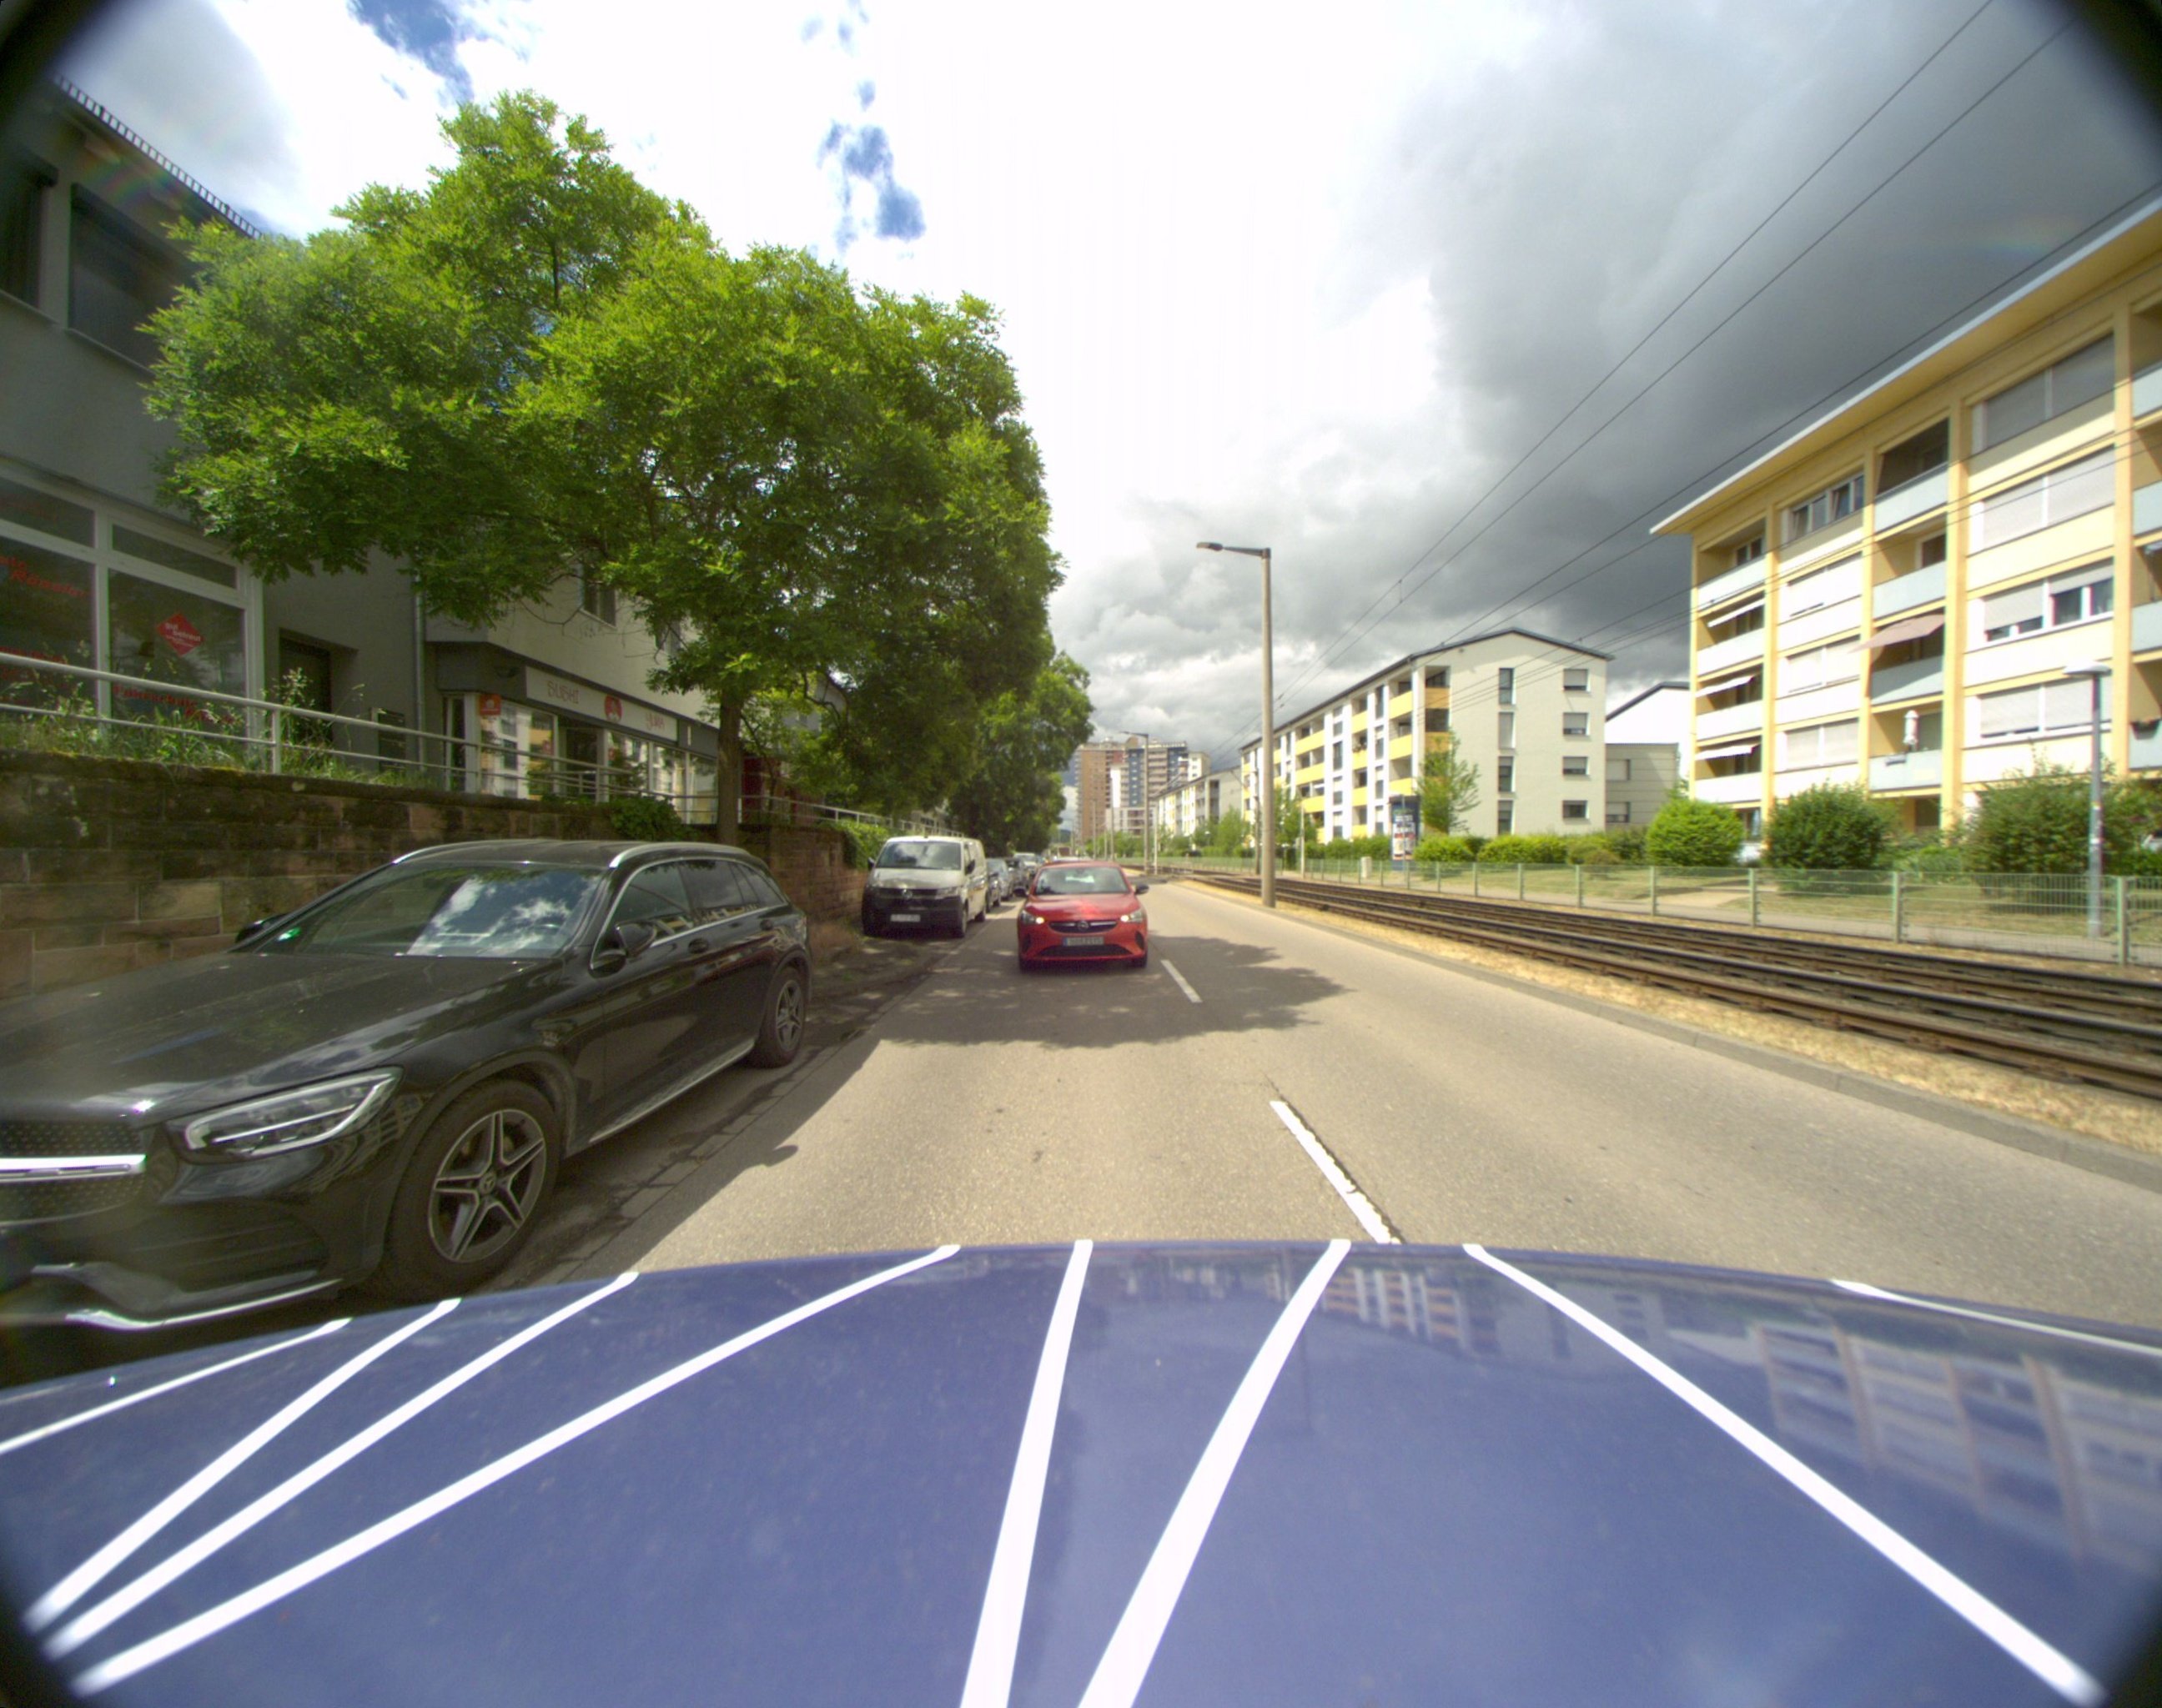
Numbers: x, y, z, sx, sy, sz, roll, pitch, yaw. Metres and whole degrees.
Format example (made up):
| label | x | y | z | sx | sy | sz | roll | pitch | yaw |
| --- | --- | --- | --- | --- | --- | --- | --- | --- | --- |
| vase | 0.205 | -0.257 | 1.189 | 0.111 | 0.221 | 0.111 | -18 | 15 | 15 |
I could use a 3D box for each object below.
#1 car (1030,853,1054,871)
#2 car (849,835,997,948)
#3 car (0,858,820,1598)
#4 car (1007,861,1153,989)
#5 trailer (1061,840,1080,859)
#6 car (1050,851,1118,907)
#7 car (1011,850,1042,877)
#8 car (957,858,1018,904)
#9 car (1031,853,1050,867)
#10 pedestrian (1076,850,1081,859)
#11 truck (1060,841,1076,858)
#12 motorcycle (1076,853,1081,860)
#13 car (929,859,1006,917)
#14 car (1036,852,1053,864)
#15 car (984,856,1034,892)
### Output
| label | x | y | z | sx | sy | sz | roll | pitch | yaw |
| --- | --- | --- | --- | --- | --- | --- | --- | --- | --- |
| car | -3.391 | 0.666 | 66.606 | 1.784 | 1.420 | 4.147 | -1 | 0 | 0 |
| car | -3.059 | 0.644 | 15.894 | 1.978 | 1.958 | 5.012 | -1 | 0 | 0 |
| car | -3.024 | 0.872 | 3.947 | 1.794 | 1.608 | 4.447 | 1 | 0 | 0 |
| car | 0.026 | 0.889 | 11.285 | 1.723 | 1.434 | 4.000 | -2 | 0 | 1 |
| trailer | -2.192 | -0.882 | 146.261 | 2.876 | 3.428 | 14.610 | -3 | 0 | -3 |
| car | 0.058 | 0.738 | 24.549 | 1.927 | 1.543 | 3.999 | -3 | 0 | -1 |
| car | -3.505 | 0.596 | 49.225 | 1.819 | 1.644 | 4.146 | -1 | 0 | -2 |
| car | -3.225 | 0.887 | 26.862 | 1.785 | 1.420 | 4.144 | -1 | 0 | -2 |
| car | -4.383 | 0.612 | 83.038 | 1.784 | 1.420 | 4.147 | -1 | 0 | 0 |
| pedestrian | -0.452 | 0.075 | 123.848 | 0.737 | 1.408 | 0.927 | -3 | 1 | -1 |
| truck | -2.680 | -0.931 | 154.299 | 2.853 | 3.429 | 4.413 | -3 | 1 | -5 |
| motorcycle | -0.441 | 0.389 | 123.833 | 0.783 | 1.181 | 1.869 | -2 | 1 | -1 |
| car | -3.119 | 0.895 | 21.552 | 1.578 | 1.420 | 3.734 | -1 | 0 | 0 |
| car | -4.282 | 0.478 | 89.828 | 1.785 | 1.420 | 4.147 | -1 | 0 | 0 |
| car | -3.131 | 0.854 | 33.859 | 1.784 | 1.420 | 4.147 | -1 | 0 | 0 |
